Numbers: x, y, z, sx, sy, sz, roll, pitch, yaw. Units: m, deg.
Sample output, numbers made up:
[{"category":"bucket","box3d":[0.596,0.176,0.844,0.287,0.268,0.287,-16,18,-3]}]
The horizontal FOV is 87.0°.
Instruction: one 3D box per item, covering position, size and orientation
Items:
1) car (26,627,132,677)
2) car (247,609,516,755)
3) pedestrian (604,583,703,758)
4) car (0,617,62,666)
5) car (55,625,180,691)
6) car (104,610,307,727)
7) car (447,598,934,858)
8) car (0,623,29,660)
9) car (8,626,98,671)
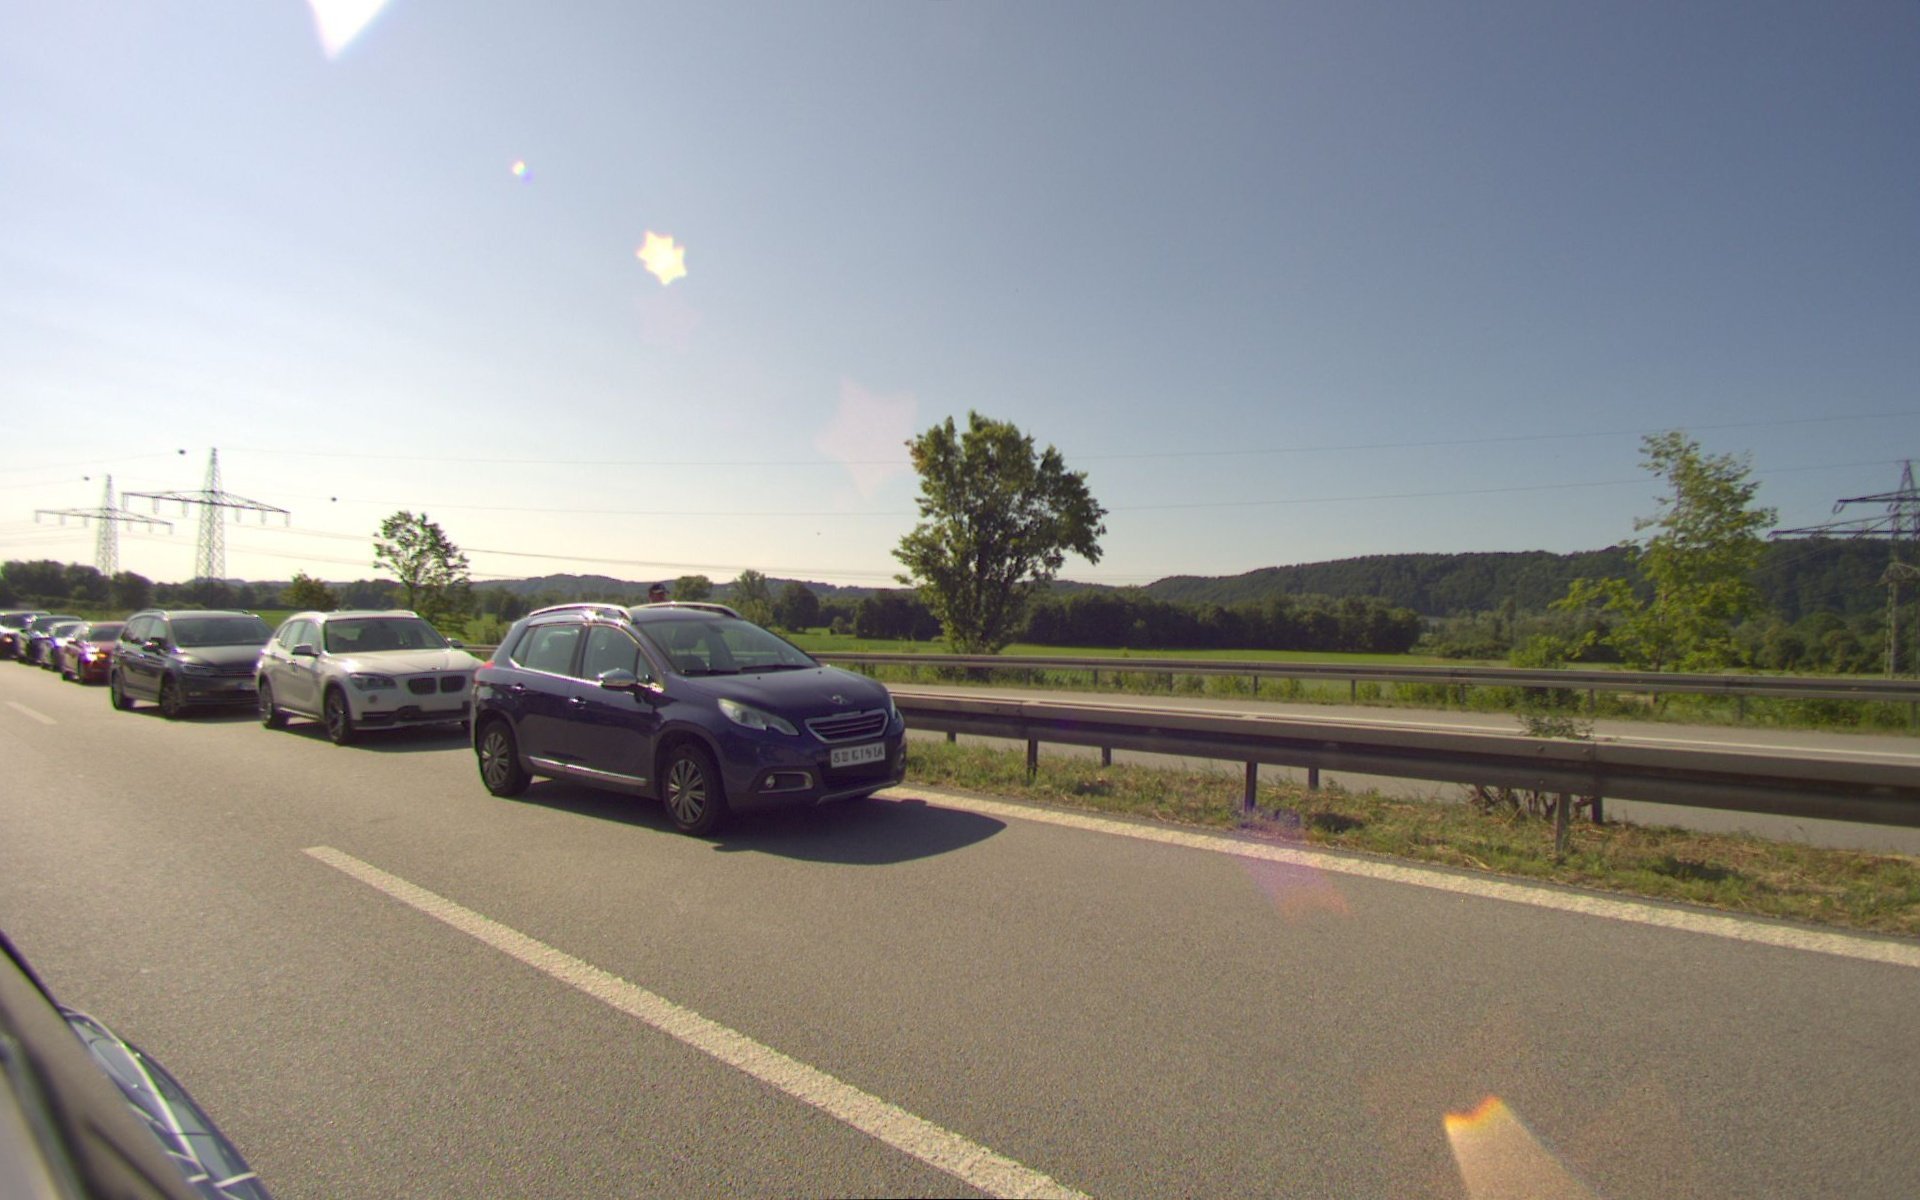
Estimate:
[{"category":"car","box3d":[-26.839,1.538,30.806,3.998,1.409,1.870,-1,-2,41]},{"category":"car","box3d":[-7.570,0.941,13.082,4.162,1.586,1.808,-2,-2,42]},{"category":"pedestrian","box3d":[-3.251,0.725,10.742,0.814,1.764,0.663,-2,-3,41]},{"category":"car","box3d":[-36.573,1.590,39.358,4.197,1.801,1.877,-2,-3,41]},{"category":"car","box3d":[-20.613,1.356,24.708,4.117,1.470,1.795,-2,-3,43]},{"category":"car","box3d":[-12.263,1.015,16.359,4.115,1.628,1.796,-1,-1,41]},{"category":"car","box3d":[-2.257,0.802,7.964,3.943,1.546,1.671,-1,0,38]},{"category":"car","box3d":[-42.084,1.788,43.941,3.998,1.542,1.973,-1,-2,41]},{"category":"car","box3d":[-31.329,1.626,34.919,3.999,1.466,1.869,-2,-2,42]}]
